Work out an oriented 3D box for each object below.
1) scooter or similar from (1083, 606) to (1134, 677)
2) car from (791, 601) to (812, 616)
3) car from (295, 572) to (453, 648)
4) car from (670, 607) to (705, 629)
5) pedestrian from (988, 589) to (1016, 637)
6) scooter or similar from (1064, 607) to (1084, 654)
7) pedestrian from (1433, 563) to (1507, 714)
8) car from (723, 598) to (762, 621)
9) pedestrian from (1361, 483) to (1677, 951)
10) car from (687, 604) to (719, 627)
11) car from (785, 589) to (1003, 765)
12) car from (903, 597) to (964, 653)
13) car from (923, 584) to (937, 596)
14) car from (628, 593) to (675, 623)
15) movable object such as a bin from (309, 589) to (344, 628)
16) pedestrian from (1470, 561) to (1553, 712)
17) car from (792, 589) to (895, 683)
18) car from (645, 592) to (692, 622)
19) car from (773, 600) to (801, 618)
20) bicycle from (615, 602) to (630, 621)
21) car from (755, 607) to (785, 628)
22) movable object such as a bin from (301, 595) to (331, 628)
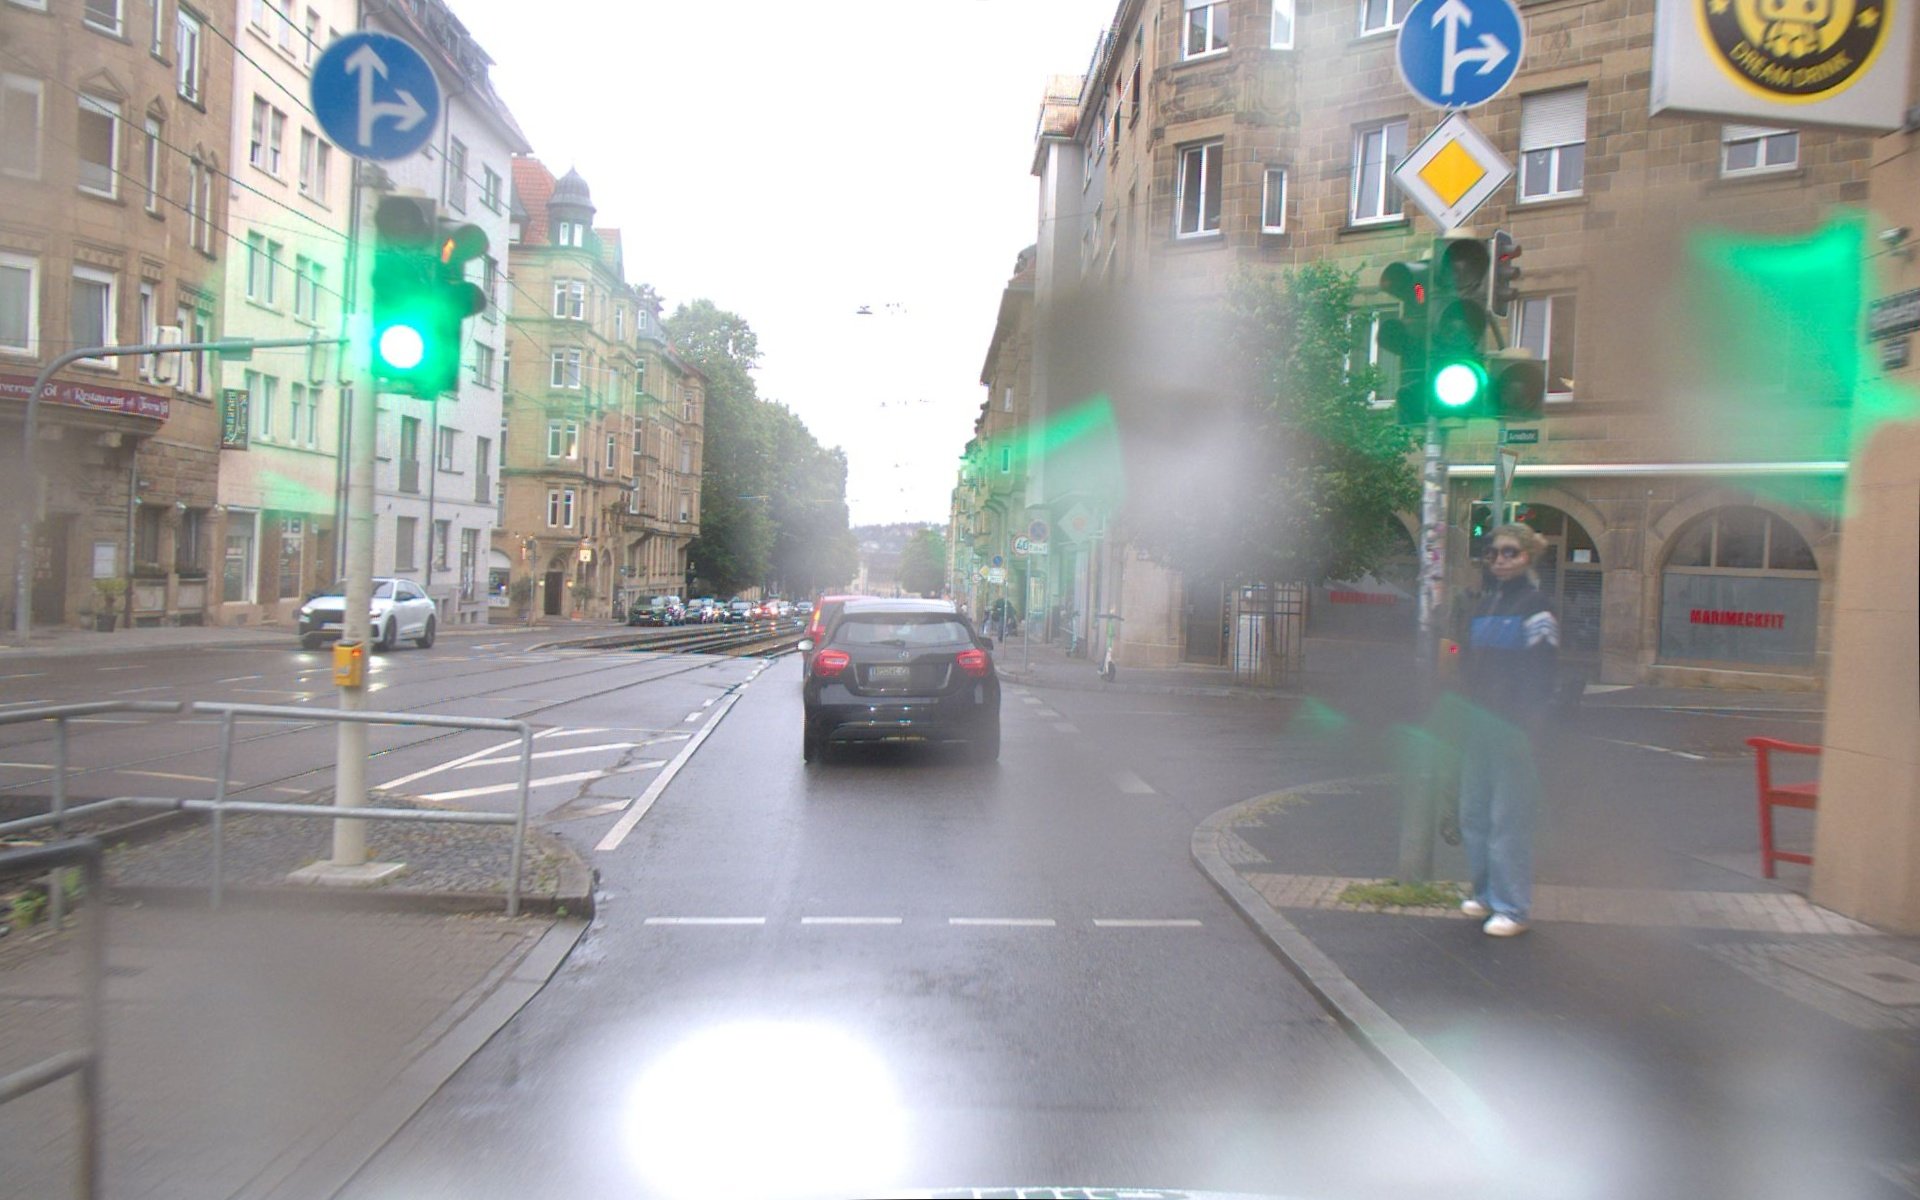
[{"bbox_3d":[2.655,0.736,29.675,0.625,1.231,1.551,1,0,-5],"label":"scooter or similar"},{"bbox_3d":[-15.328,0.780,160.129,1.660,1.413,3.481,1,0,0],"label":"car"},{"bbox_3d":[-13.860,0.229,39.463,1.953,1.656,5.251,1,0,-1],"label":"car"},{"bbox_3d":[-16.864,1.089,102.610,1.537,1.339,3.481,1,0,0],"label":"car"},{"bbox_3d":[1.587,0.481,62.243,0.926,1.800,1.014,1,0,-3],"label":"pedestrian"},{"bbox_3d":[3.089,0.829,44.987,0.387,1.237,1.106,1,0,-3],"label":"scooter or similar"},{"bbox_3d":[6.284,0.466,20.415,0.582,1.820,0.890,0,-1,-5],"label":"pedestrian"},{"bbox_3d":[-13.703,0.569,104.355,1.908,1.421,4.273,0,0,-1],"label":"car"},{"bbox_3d":[2.402,0.471,7.214,0.947,1.872,0.900,-2,0,-9],"label":"pedestrian"},{"bbox_3d":[-16.616,0.998,107.021,1.537,1.438,3.481,1,0,0],"label":"car"},{"bbox_3d":[-0.532,0.646,15.902,1.828,1.477,4.000,0,0,0],"label":"car"},{"bbox_3d":[-0.801,0.725,50.063,1.729,1.586,4.744,1,0,-1],"label":"car"},{"bbox_3d":[-3.629,-1.260,201.681,1.581,1.340,3.999,3,0,-1],"label":"car"},{"bbox_3d":[-16.328,0.425,87.665,1.687,1.568,3.934,1,0,0],"label":"car"},{"bbox_3d":[-18.708,0.258,48.870,0.699,1.092,0.687,5,-1,-2],"label":"movable object such as a bin"},{"bbox_3d":[6.829,0.443,20.503,0.668,1.820,0.901,0,-1,-5],"label":"pedestrian"},{"bbox_3d":[-2.021,0.586,28.905,1.617,1.477,3.997,2,0,-4],"label":"car"},{"bbox_3d":[-16.392,0.409,93.180,1.769,1.625,4.525,1,0,0],"label":"car"},{"bbox_3d":[-13.884,0.743,132.655,1.769,1.384,4.762,1,0,0],"label":"car"},{"bbox_3d":[-18.104,0.602,88.709,0.586,1.018,2.077,1,0,-5],"label":"bicycle"},{"bbox_3d":[-13.950,1.271,121.694,1.645,1.523,3.520,1,0,2],"label":"car"},{"bbox_3d":[-18.776,0.338,48.224,0.582,0.926,0.560,5,-1,-2],"label":"movable object such as a bin"}]
